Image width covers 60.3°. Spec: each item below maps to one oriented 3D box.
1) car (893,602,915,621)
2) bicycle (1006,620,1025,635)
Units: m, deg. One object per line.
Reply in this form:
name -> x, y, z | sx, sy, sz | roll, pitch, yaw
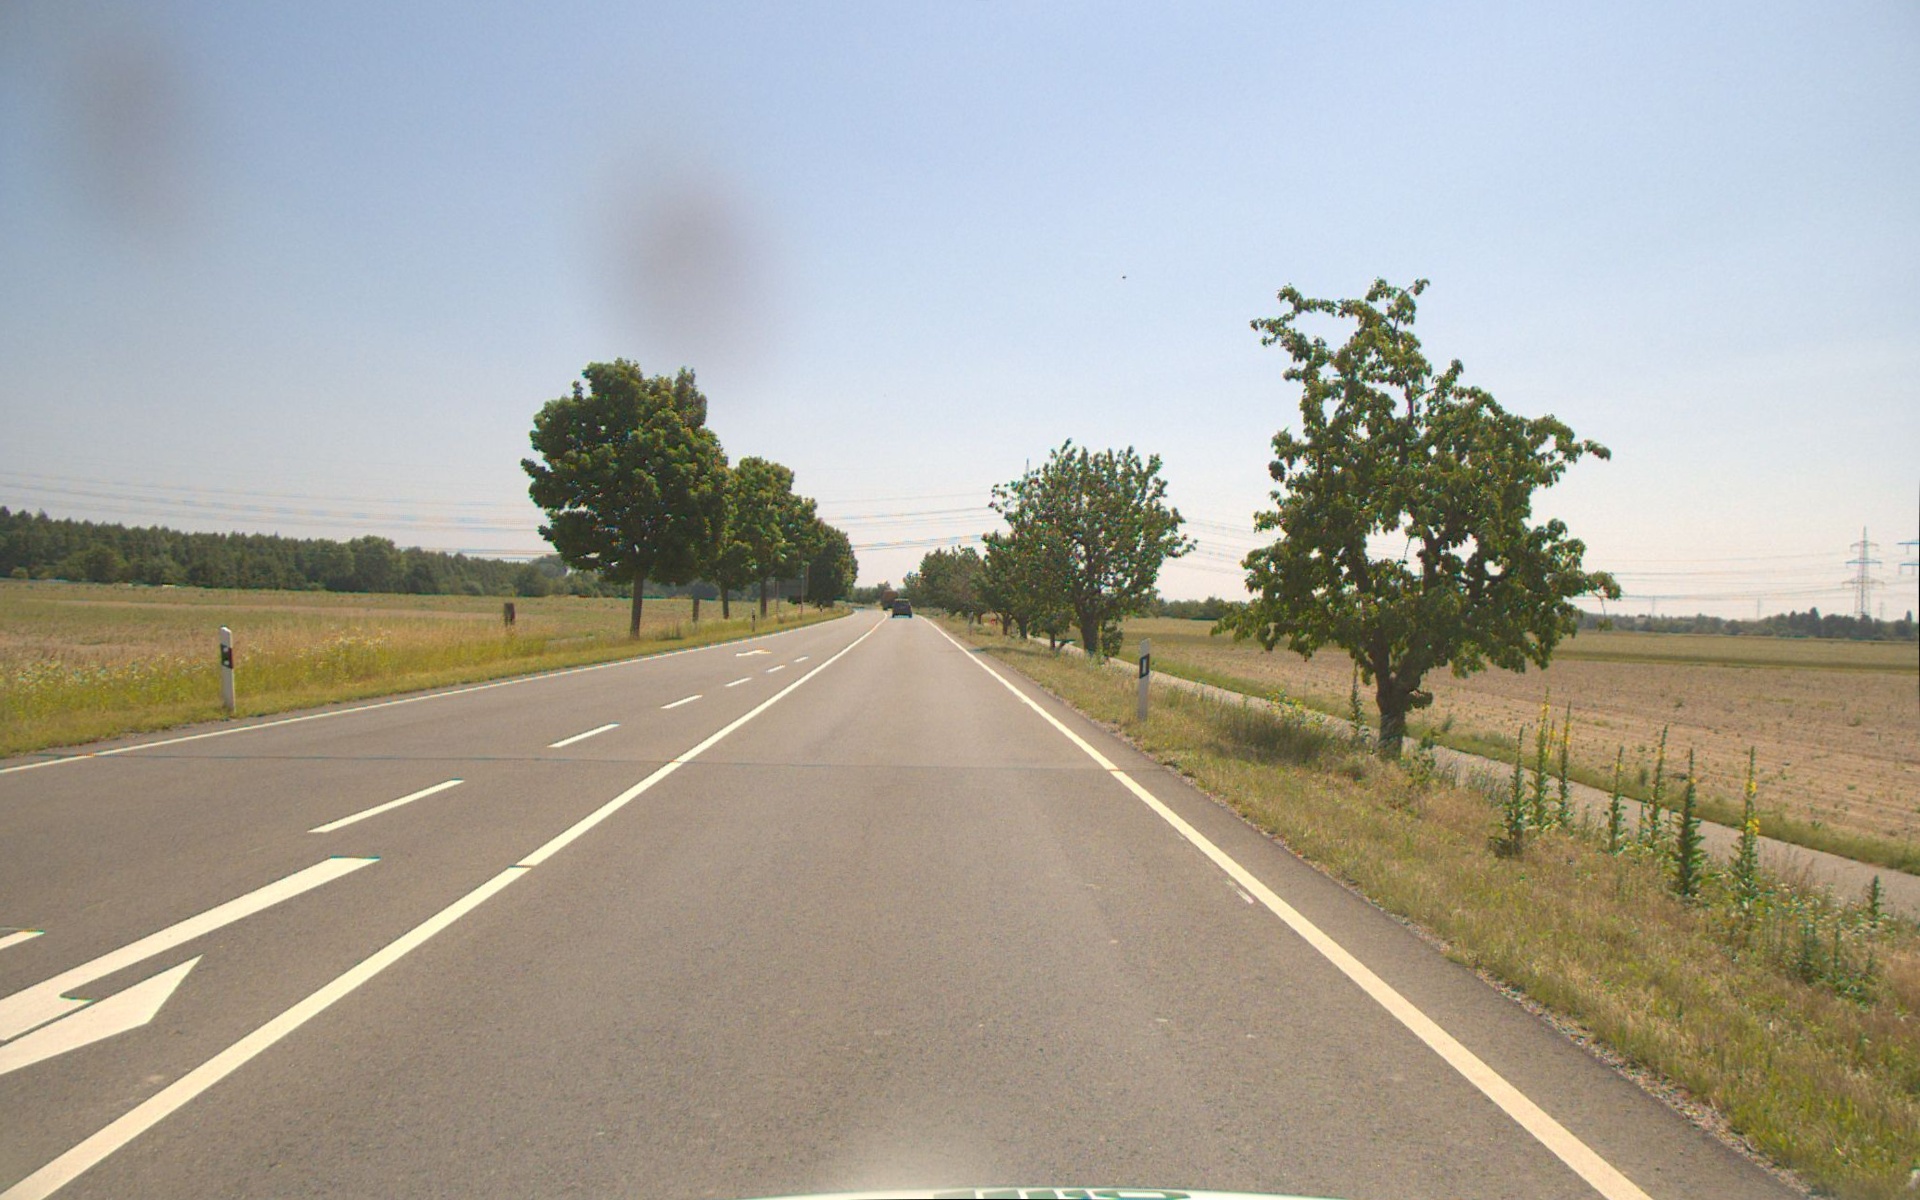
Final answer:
car -> -5.238, 1.064, 154.387 | 1.847, 1.544, 4.038 | 4, 0, -2
bicycle -> 4.659, 2.301, 138.637 | 1.195, 1.185, 2.432 | 4, 0, -6
